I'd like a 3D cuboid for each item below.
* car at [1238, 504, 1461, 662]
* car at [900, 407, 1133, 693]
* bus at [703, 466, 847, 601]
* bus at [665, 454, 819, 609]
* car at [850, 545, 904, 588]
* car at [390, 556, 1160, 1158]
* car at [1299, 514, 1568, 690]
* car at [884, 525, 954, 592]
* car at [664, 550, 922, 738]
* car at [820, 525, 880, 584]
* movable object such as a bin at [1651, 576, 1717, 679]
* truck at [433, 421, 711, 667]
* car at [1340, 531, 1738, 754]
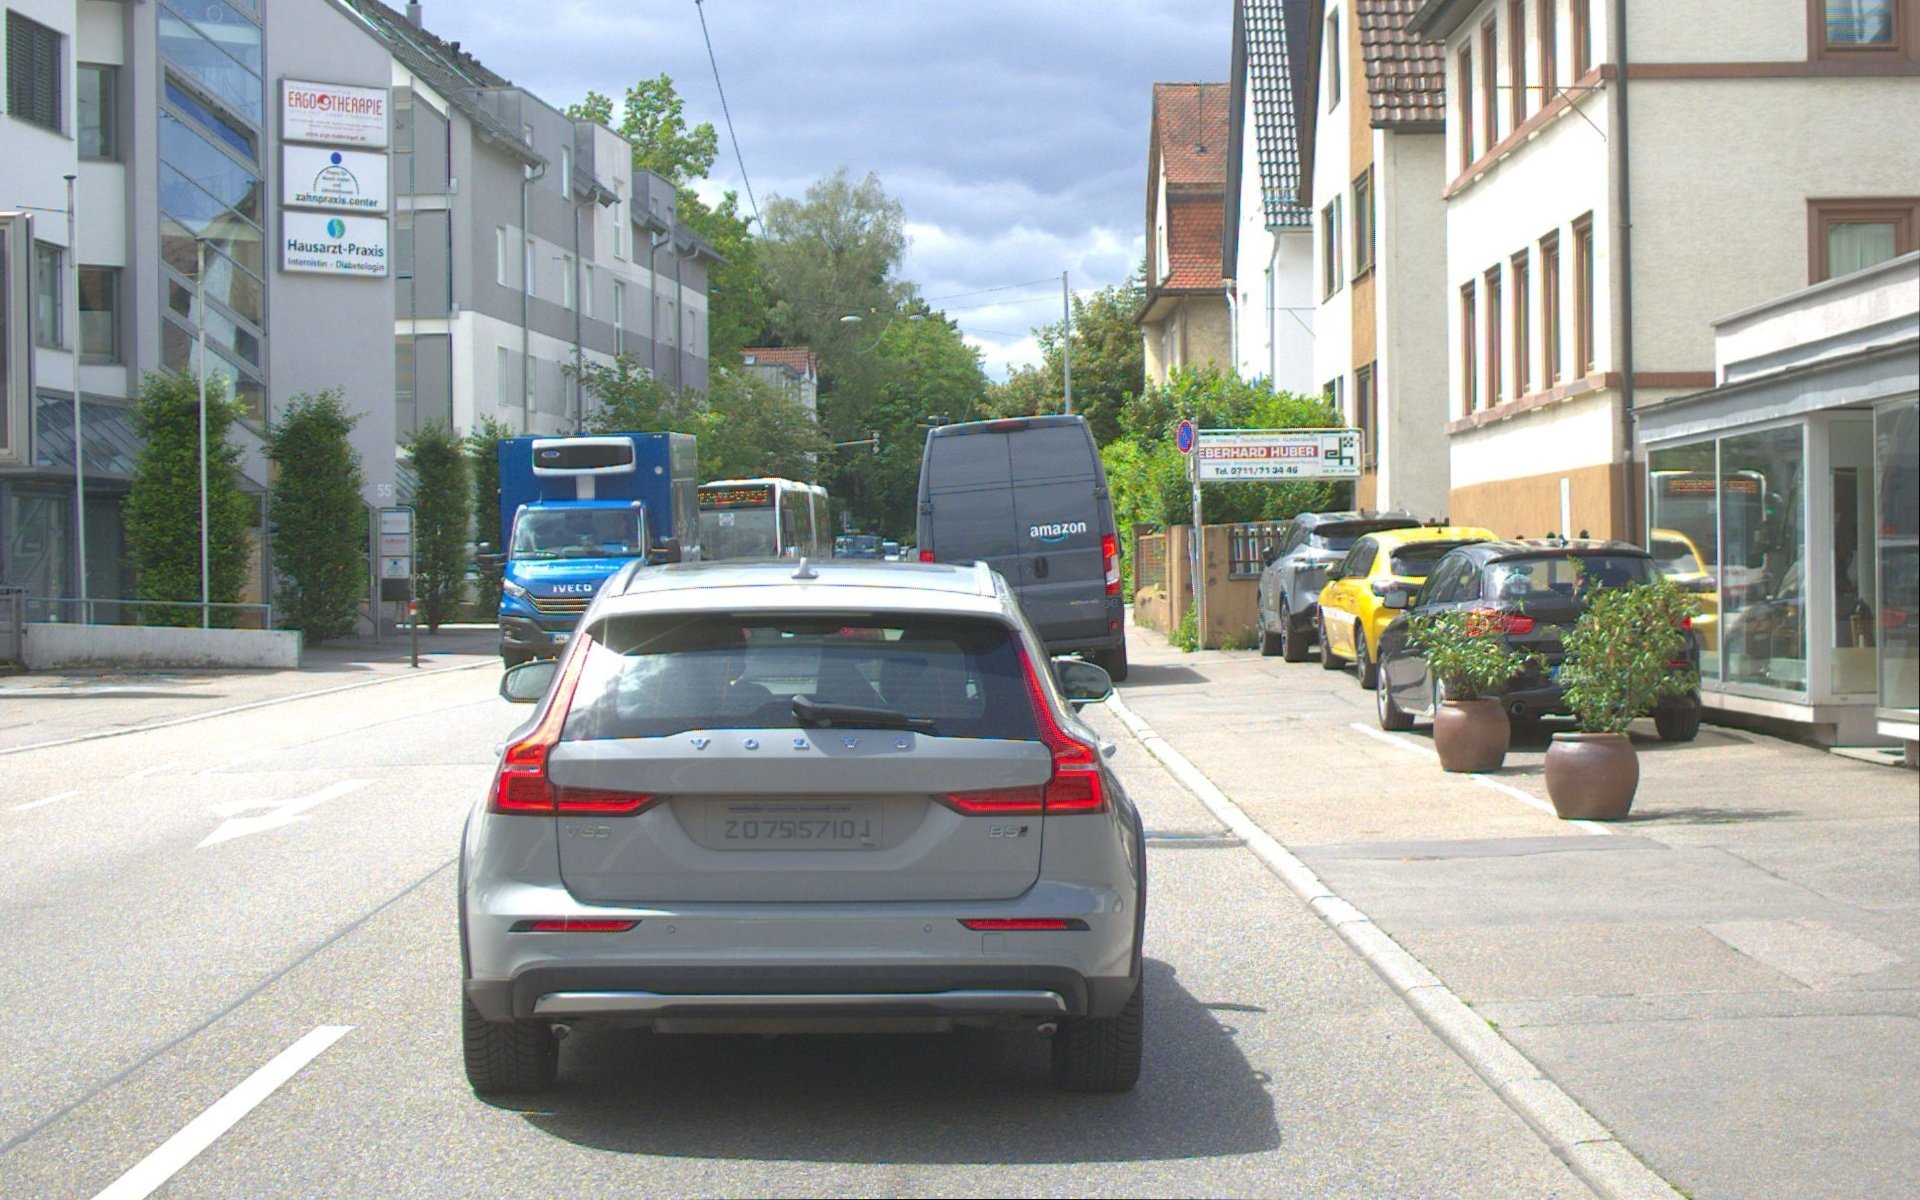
[{"bbox_3d":[4.285,-0.226,38.470,1.860,1.606,4.586,-2,1,-1],"label":"car"},{"bbox_3d":[0.592,-0.542,36.743,2.252,2.786,5.569,-1,1,1],"label":"car"},{"bbox_3d":[-4.496,-1.630,85.114,2.716,3.153,8.068,-1,1,3],"label":"bus"},{"bbox_3d":[-4.710,-1.493,76.032,2.682,3.153,10.185,-1,1,0],"label":"bus"},{"bbox_3d":[-3.350,-1.381,139.443,2.105,1.704,4.766,-1,1,-1],"label":"car"},{"bbox_3d":[-0.403,0.605,10.441,1.896,1.448,3.968,0,1,2],"label":"car"},{"bbox_3d":[4.555,-0.038,33.682,1.877,1.442,4.308,-1,3,-2],"label":"car"},{"bbox_3d":[-1.242,-1.293,105.615,1.993,2.007,4.000,0,1,2],"label":"car"},{"bbox_3d":[-1.317,0.313,28.626,1.896,1.441,3.968,0,1,1],"label":"car"},{"bbox_3d":[-4.109,-1.723,128.841,2.105,2.114,4.766,-1,1,-1],"label":"car"},{"bbox_3d":[6.650,0.250,31.602,0.501,0.922,0.598,-1,1,4],"label":"movable object such as a bin"},{"bbox_3d":[-5.224,-0.769,47.724,2.853,3.082,8.089,-1,1,0],"label":"truck"},{"bbox_3d":[4.114,0.245,25.178,1.968,1.442,4.536,-1,1,-2],"label":"car"}]
